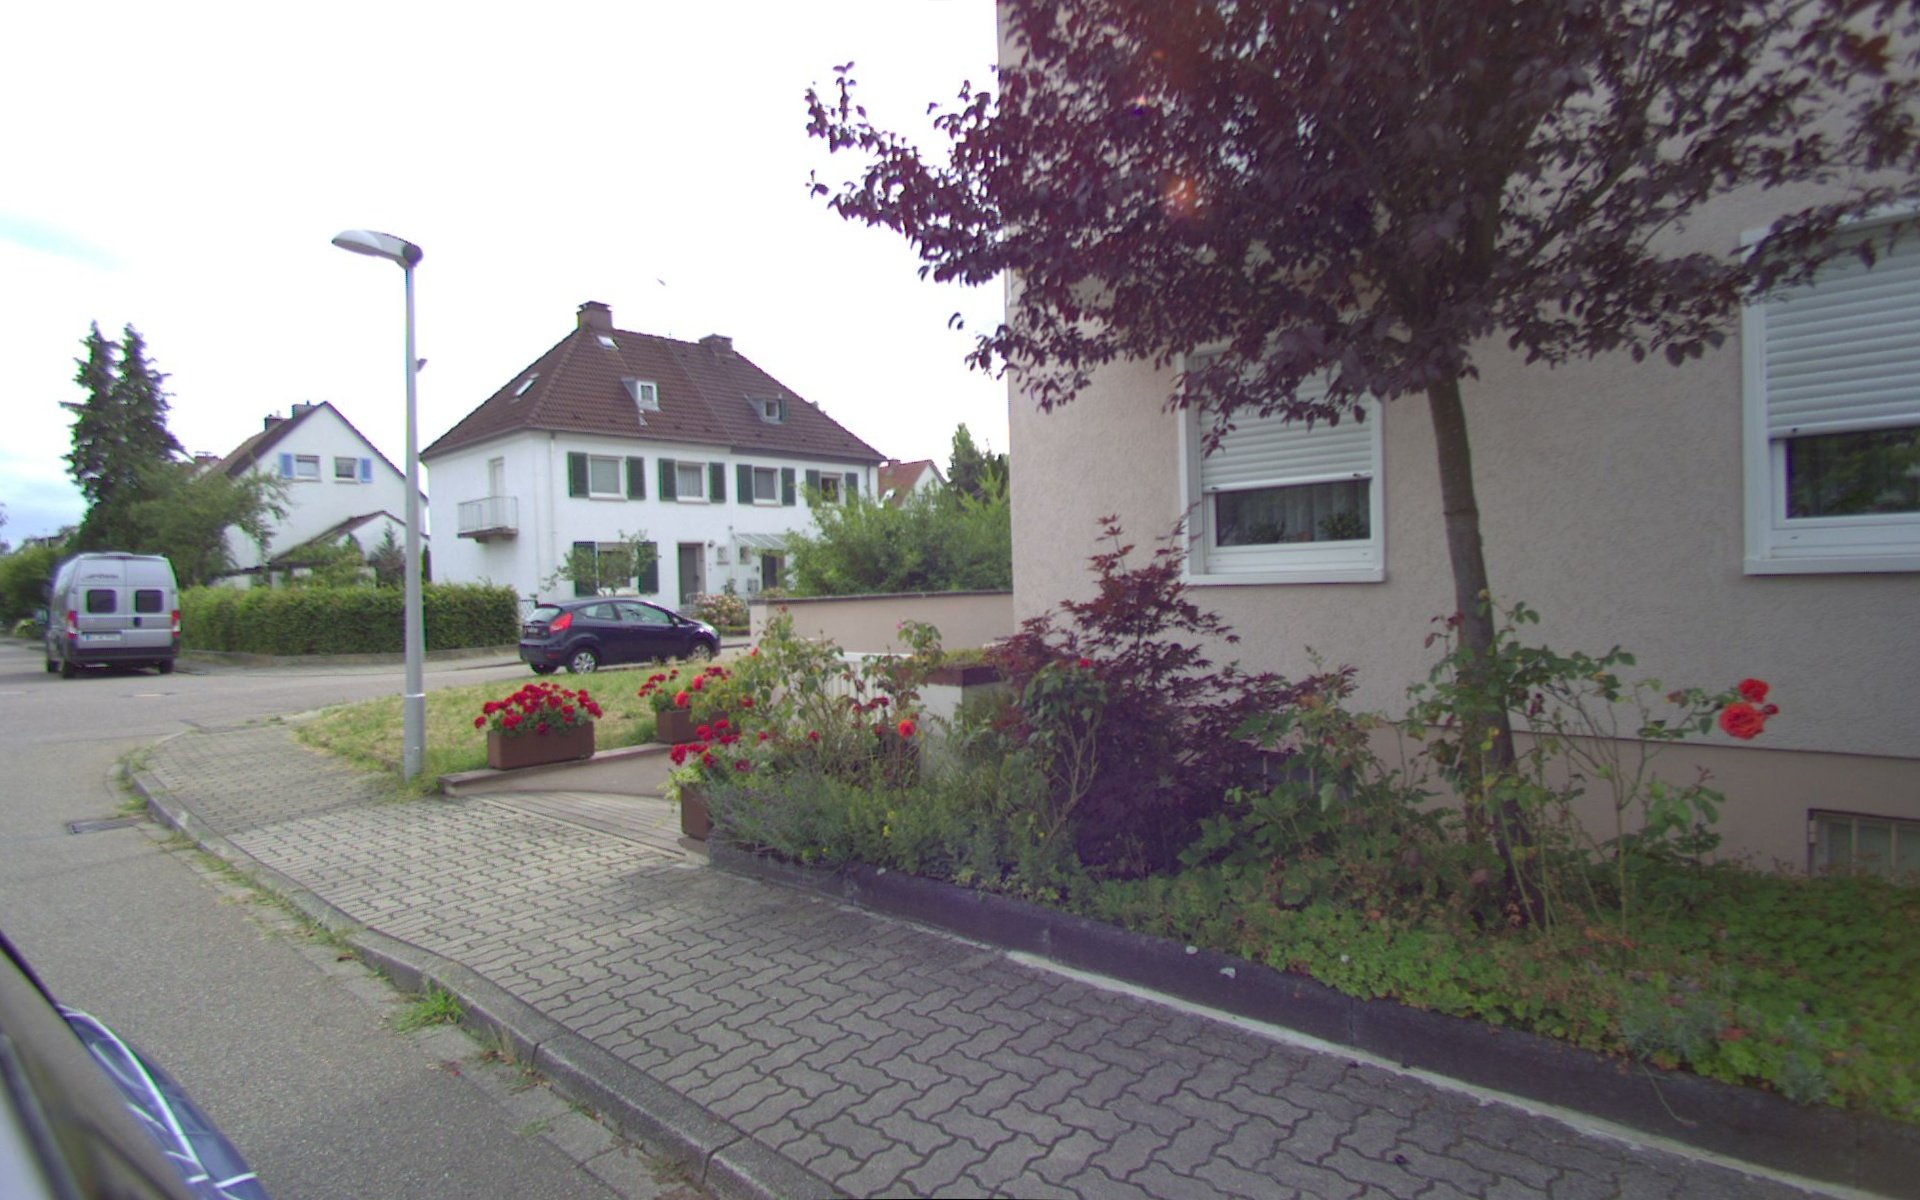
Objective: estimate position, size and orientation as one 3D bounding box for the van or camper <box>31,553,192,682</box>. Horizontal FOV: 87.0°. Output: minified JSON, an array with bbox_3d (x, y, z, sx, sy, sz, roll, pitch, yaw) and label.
[{"bbox_3d":[-20.610,0.372,24.476,5.749,2.755,2.315,-1,1,44],"label":"van or camper"}]

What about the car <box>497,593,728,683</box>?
[{"bbox_3d":[-6.618,0.666,19.546,1.722,1.452,3.831,-1,1,42],"label":"car"}]
